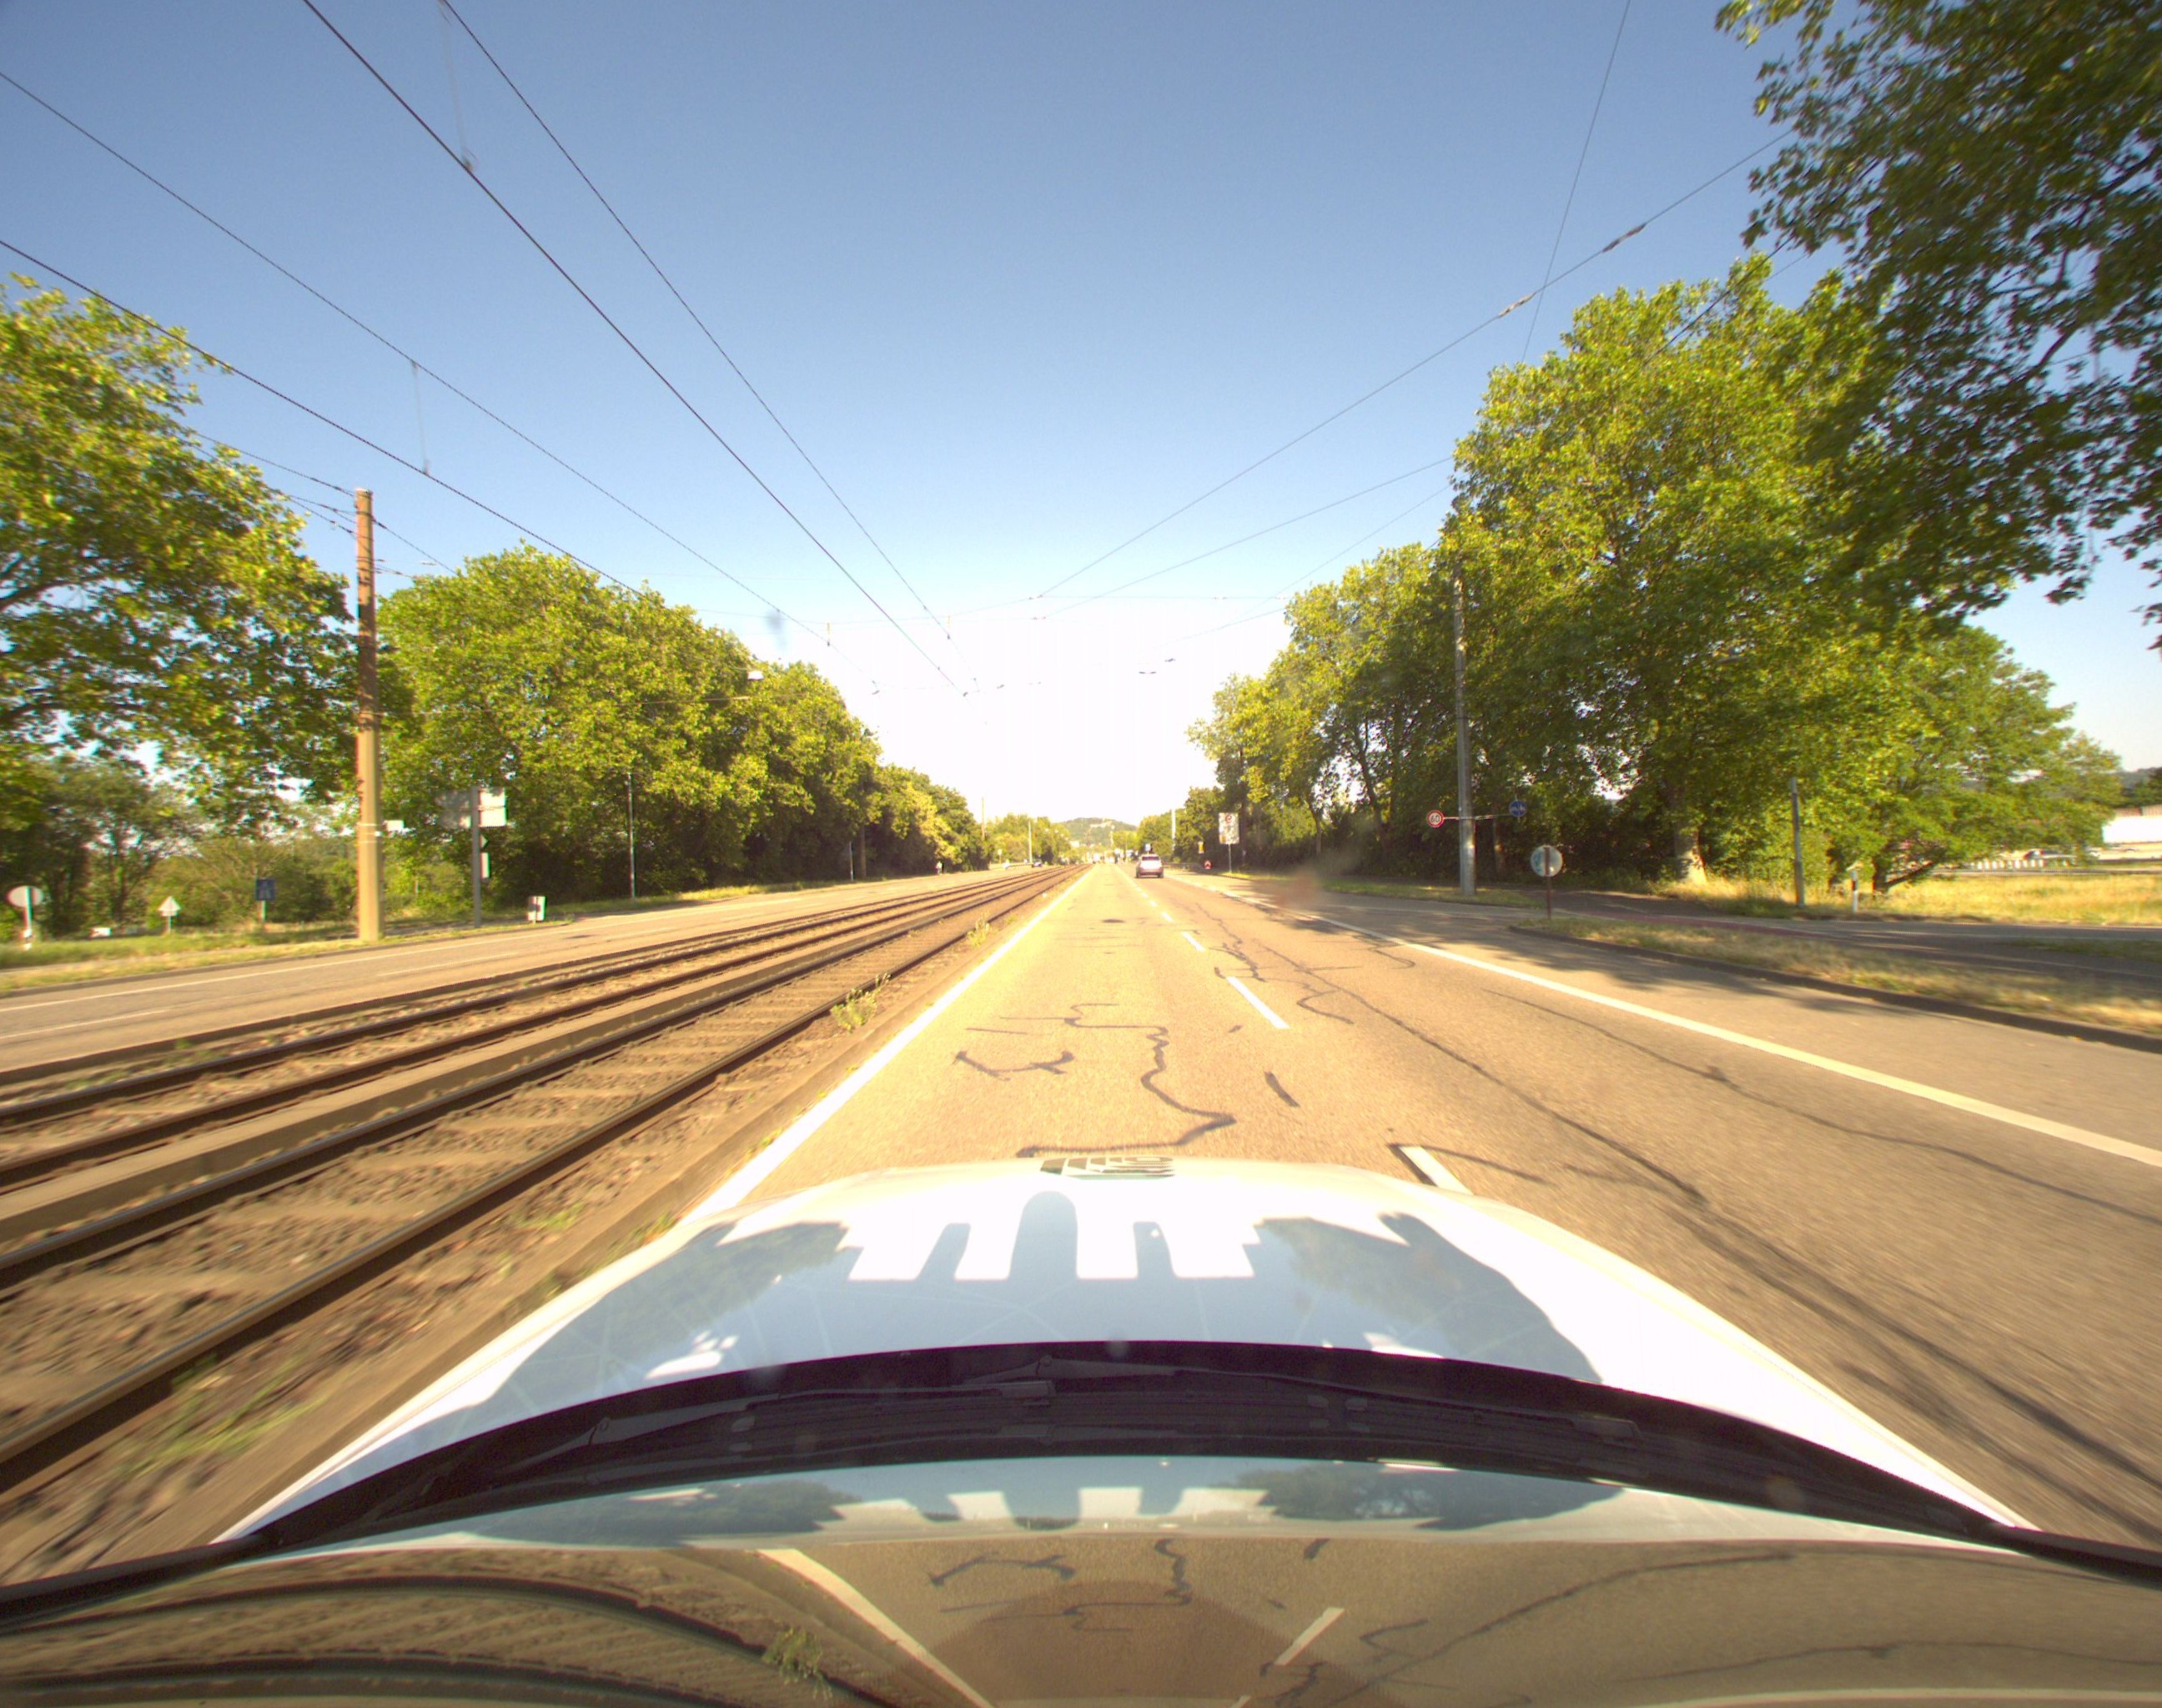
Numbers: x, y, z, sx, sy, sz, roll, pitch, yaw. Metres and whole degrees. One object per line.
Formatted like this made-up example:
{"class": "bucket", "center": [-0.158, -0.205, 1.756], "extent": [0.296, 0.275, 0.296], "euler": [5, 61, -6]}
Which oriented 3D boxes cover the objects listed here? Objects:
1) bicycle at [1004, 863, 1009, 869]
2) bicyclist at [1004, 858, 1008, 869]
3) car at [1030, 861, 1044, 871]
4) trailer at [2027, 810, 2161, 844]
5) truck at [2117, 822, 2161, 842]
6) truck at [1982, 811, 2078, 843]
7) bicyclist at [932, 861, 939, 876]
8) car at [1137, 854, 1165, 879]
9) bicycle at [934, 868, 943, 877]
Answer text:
{"class": "bicycle", "center": [-11.880, 1.959, 129.543], "extent": [0.505, 0.892, 2.030], "euler": [0, -1, 5]}
{"class": "bicyclist", "center": [-11.883, 1.470, 129.533], "extent": [0.505, 1.687, 0.920], "euler": [0, -1, 5]}
{"class": "car", "center": [-8.367, 2.298, 155.569], "extent": [1.984, 1.685, 4.802], "euler": [-3, -1, 5]}
{"class": "trailer", "center": [124.951, -3.225, 99.378], "extent": [11.911, 3.840, 3.153], "euler": [0, -1, 32]}
{"class": "truck", "center": [131.395, -2.702, 99.365], "extent": [5.760, 2.431, 2.013], "euler": [0, -1, 35]}
{"class": "truck", "center": [119.553, -3.350, 102.766], "extent": [7.246, 3.840, 3.153], "euler": [0, -1, 32]}
{"class": "bicyclist", "center": [-16.790, 1.646, 94.130], "extent": [0.548, 1.690, 0.821], "euler": [0, -1, 6]}
{"class": "car", "center": [5.046, 0.881, 58.993], "extent": [1.880, 1.693, 4.261], "euler": [-1, -1, 4]}
{"class": "bicycle", "center": [-16.490, 2.182, 94.193], "extent": [0.548, 0.986, 2.240], "euler": [3, 0, 2]}
